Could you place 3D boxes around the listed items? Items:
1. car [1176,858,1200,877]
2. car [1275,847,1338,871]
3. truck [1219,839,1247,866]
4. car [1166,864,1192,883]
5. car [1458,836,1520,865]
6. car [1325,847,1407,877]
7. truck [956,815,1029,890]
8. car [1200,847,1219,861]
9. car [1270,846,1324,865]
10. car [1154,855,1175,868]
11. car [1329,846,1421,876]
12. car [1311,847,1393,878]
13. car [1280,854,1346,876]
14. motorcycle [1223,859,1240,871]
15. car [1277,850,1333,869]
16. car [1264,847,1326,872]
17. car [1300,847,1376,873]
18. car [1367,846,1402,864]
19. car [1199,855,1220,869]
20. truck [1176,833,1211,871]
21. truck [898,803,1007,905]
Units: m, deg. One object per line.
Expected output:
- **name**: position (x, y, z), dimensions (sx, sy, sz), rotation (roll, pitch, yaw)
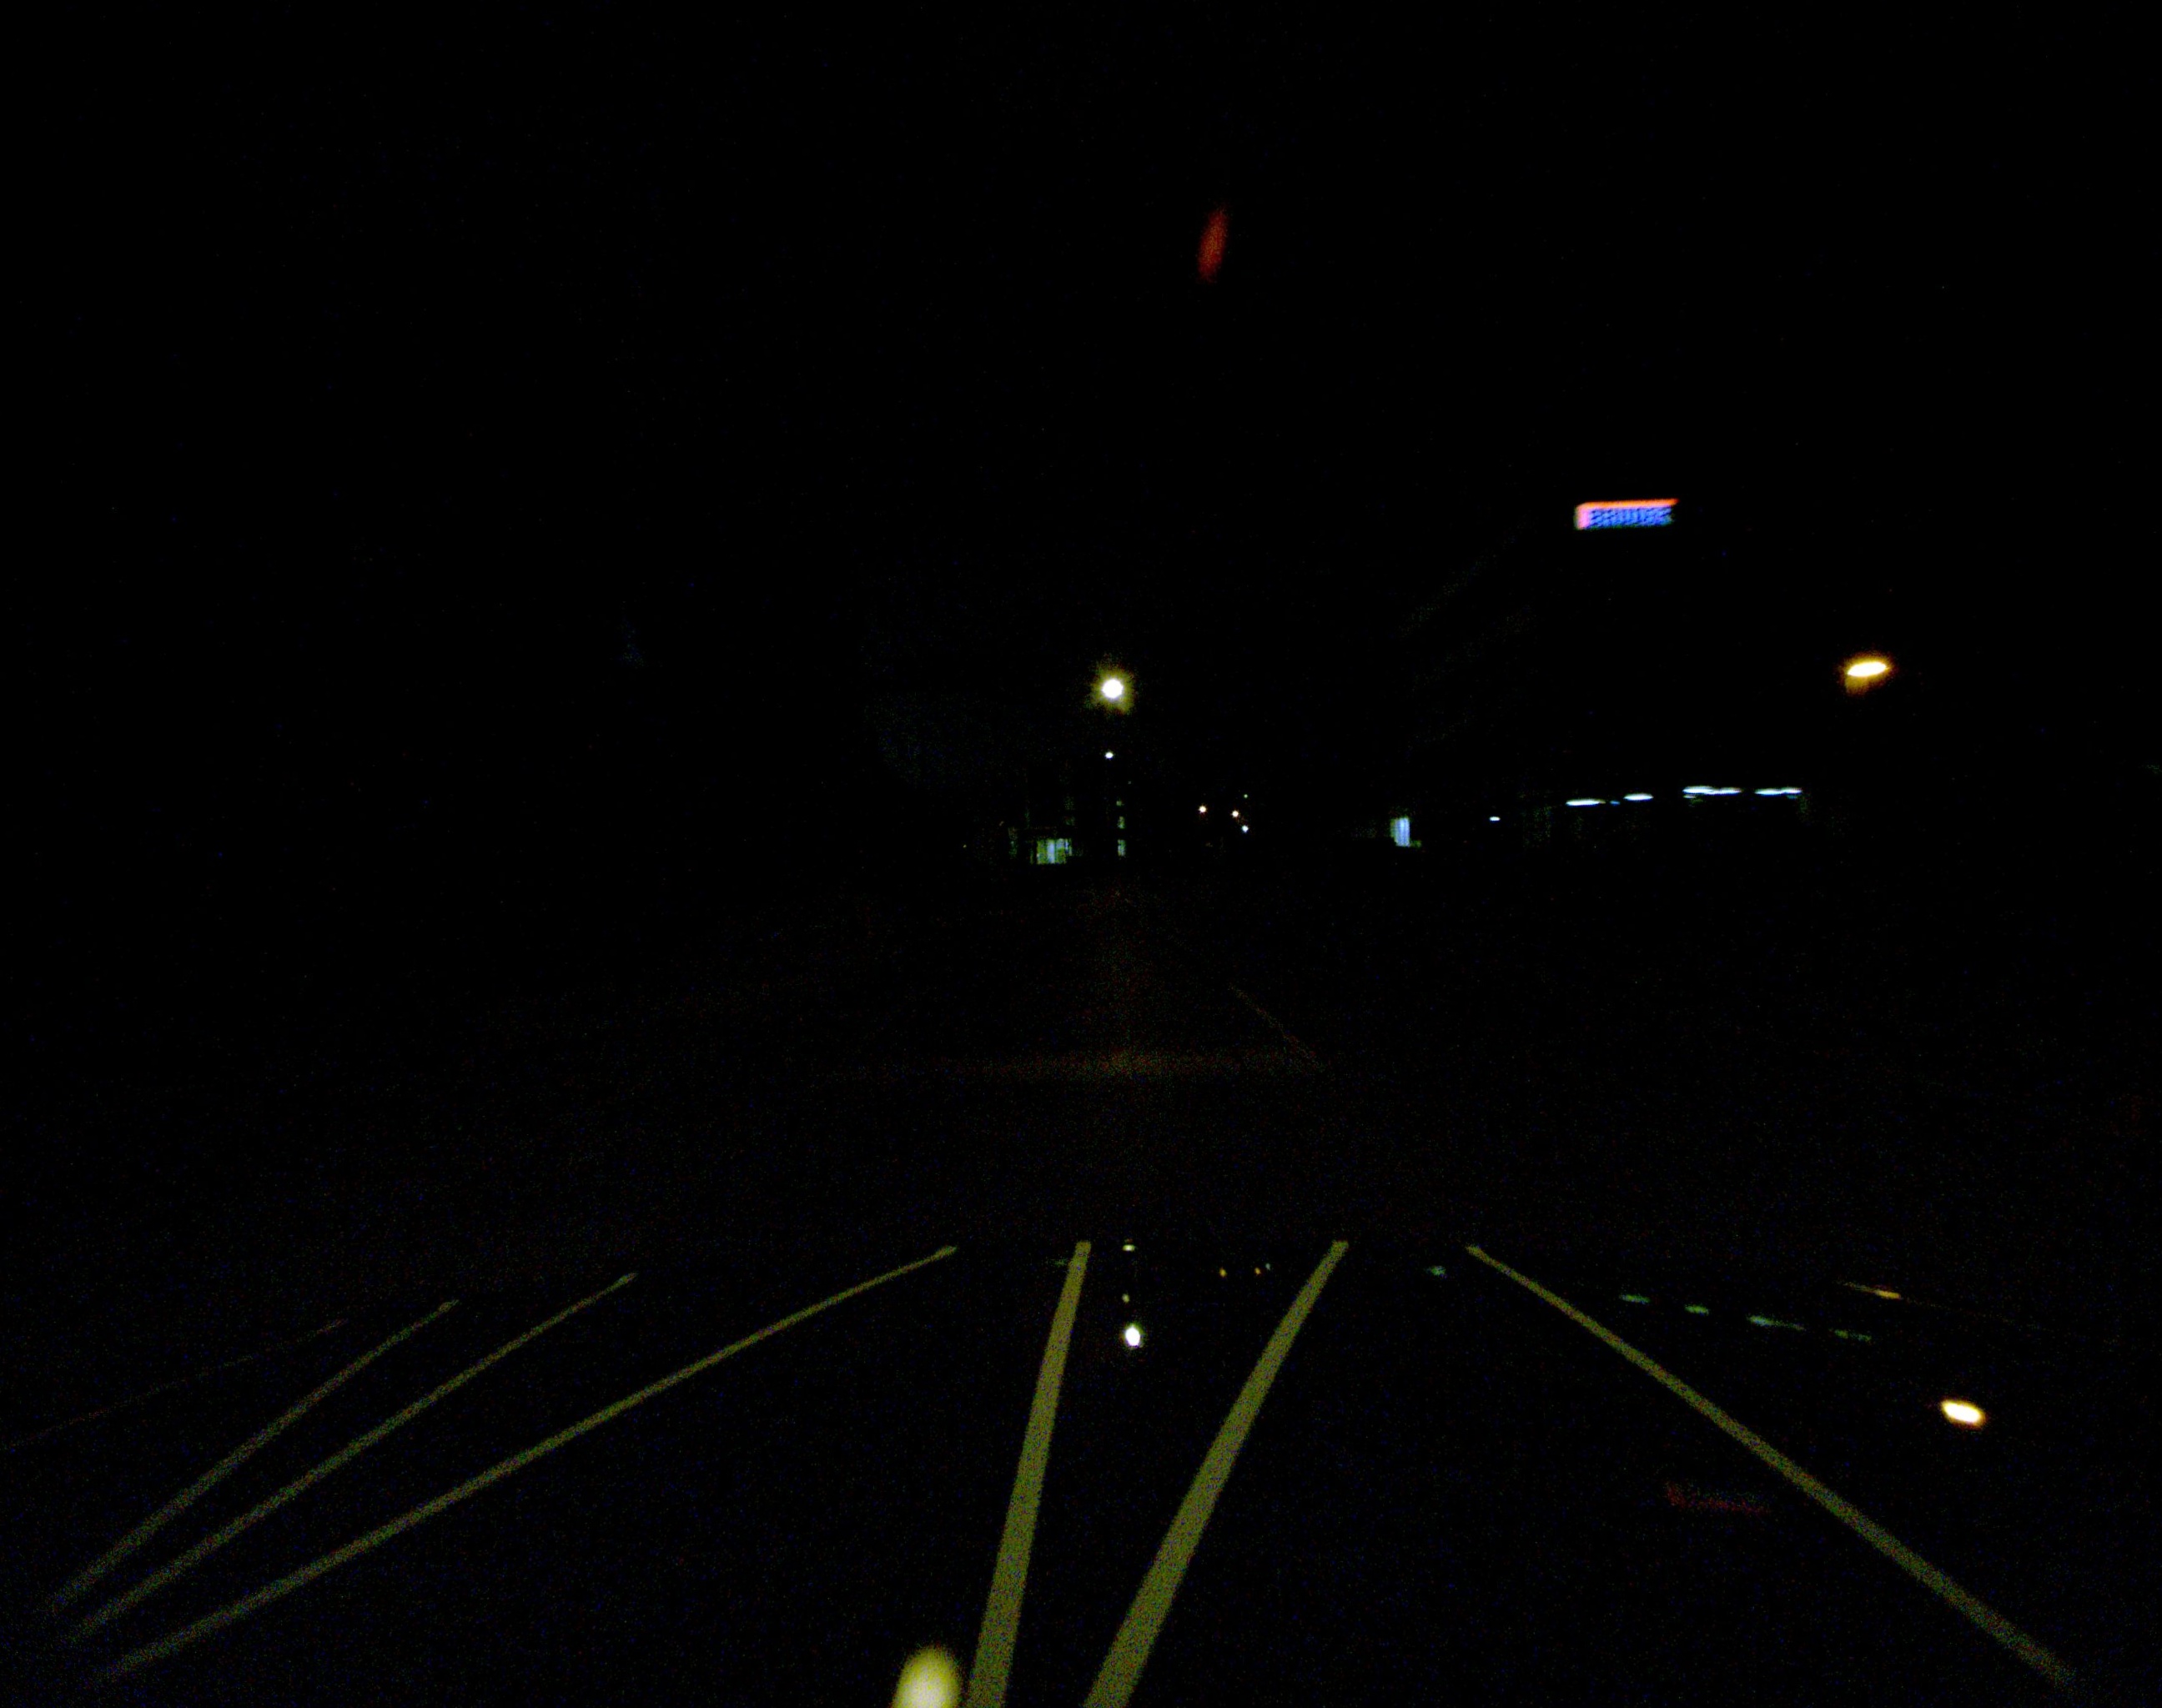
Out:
- **car**: position (9.910, 1.234, 69.869), dimensions (1.869, 1.583, 4.498), rotation (-2, 0, 11)
- **car**: position (18.493, 0.408, 62.464), dimensions (4.617, 1.805, 1.963), rotation (-3, 0, 6)
- **truck**: position (24.230, -0.277, 120.541), dimensions (2.749, 4.010, 9.573), rotation (-3, 0, 21)
- **car**: position (7.745, 1.519, 60.258), dimensions (1.818, 1.363, 4.362), rotation (-2, 0, 5)
- **car**: position (25.885, -0.192, 48.391), dimensions (1.998, 1.632, 4.205), rotation (-3, 0, 6)
- **car**: position (16.920, 0.490, 45.274), dimensions (4.140, 1.570, 1.842), rotation (-3, 0, 6)
- **truck**: position (-4.872, -0.096, 43.801), dimensions (2.762, 3.761, 9.137), rotation (-2, 0, 2)
- **car**: position (25.700, -0.066, 152.009), dimensions (1.996, 2.510, 5.919), rotation (-5, -1, 25)
- **car**: position (19.930, 0.121, 70.244), dimensions (4.413, 1.474, 1.893), rotation (-3, 0, 6)
- **car**: position (13.550, 1.187, 122.535), dimensions (1.995, 2.002, 4.919), rotation (-2, 0, 22)
- **car**: position (16.411, 0.383, 42.611), dimensions (4.457, 1.444, 2.062), rotation (-3, 0, 9)
- **car**: position (16.939, 0.523, 47.591), dimensions (4.414, 1.671, 1.963), rotation (-3, 0, 4)
- **car**: position (16.891, 0.762, 55.497), dimensions (4.275, 1.386, 1.828), rotation (-3, 0, 6)
- **motorcycle**: position (16.569, 1.186, 83.584), dimensions (1.693, 1.095, 0.531), rotation (-6, 2, -16)
- **car**: position (19.993, 0.479, 67.936), dimensions (4.413, 1.444, 1.829), rotation (-3, 0, 6)
- **car**: position (16.922, 0.448, 60.302), dimensions (4.413, 1.805, 1.963), rotation (-2, 0, 6)
- **car**: position (16.978, 0.411, 50.332), dimensions (4.413, 1.470, 1.851), rotation (-3, 0, 6)
- **car**: position (28.305, 0.074, 70.903), dimensions (1.906, 1.448, 4.467), rotation (-4, 0, 7)
- **car**: position (17.449, 1.058, 102.918), dimensions (1.946, 1.707, 5.205), rotation (-2, 0, 18)
- **truck**: position (13.214, -0.267, 88.644), dimensions (2.776, 4.096, 9.351), rotation (-2, 0, 15)
- **truck**: position (-5.378, -0.010, 34.001), dimensions (2.762, 3.761, 10.226), rotation (-2, 0, 1)
